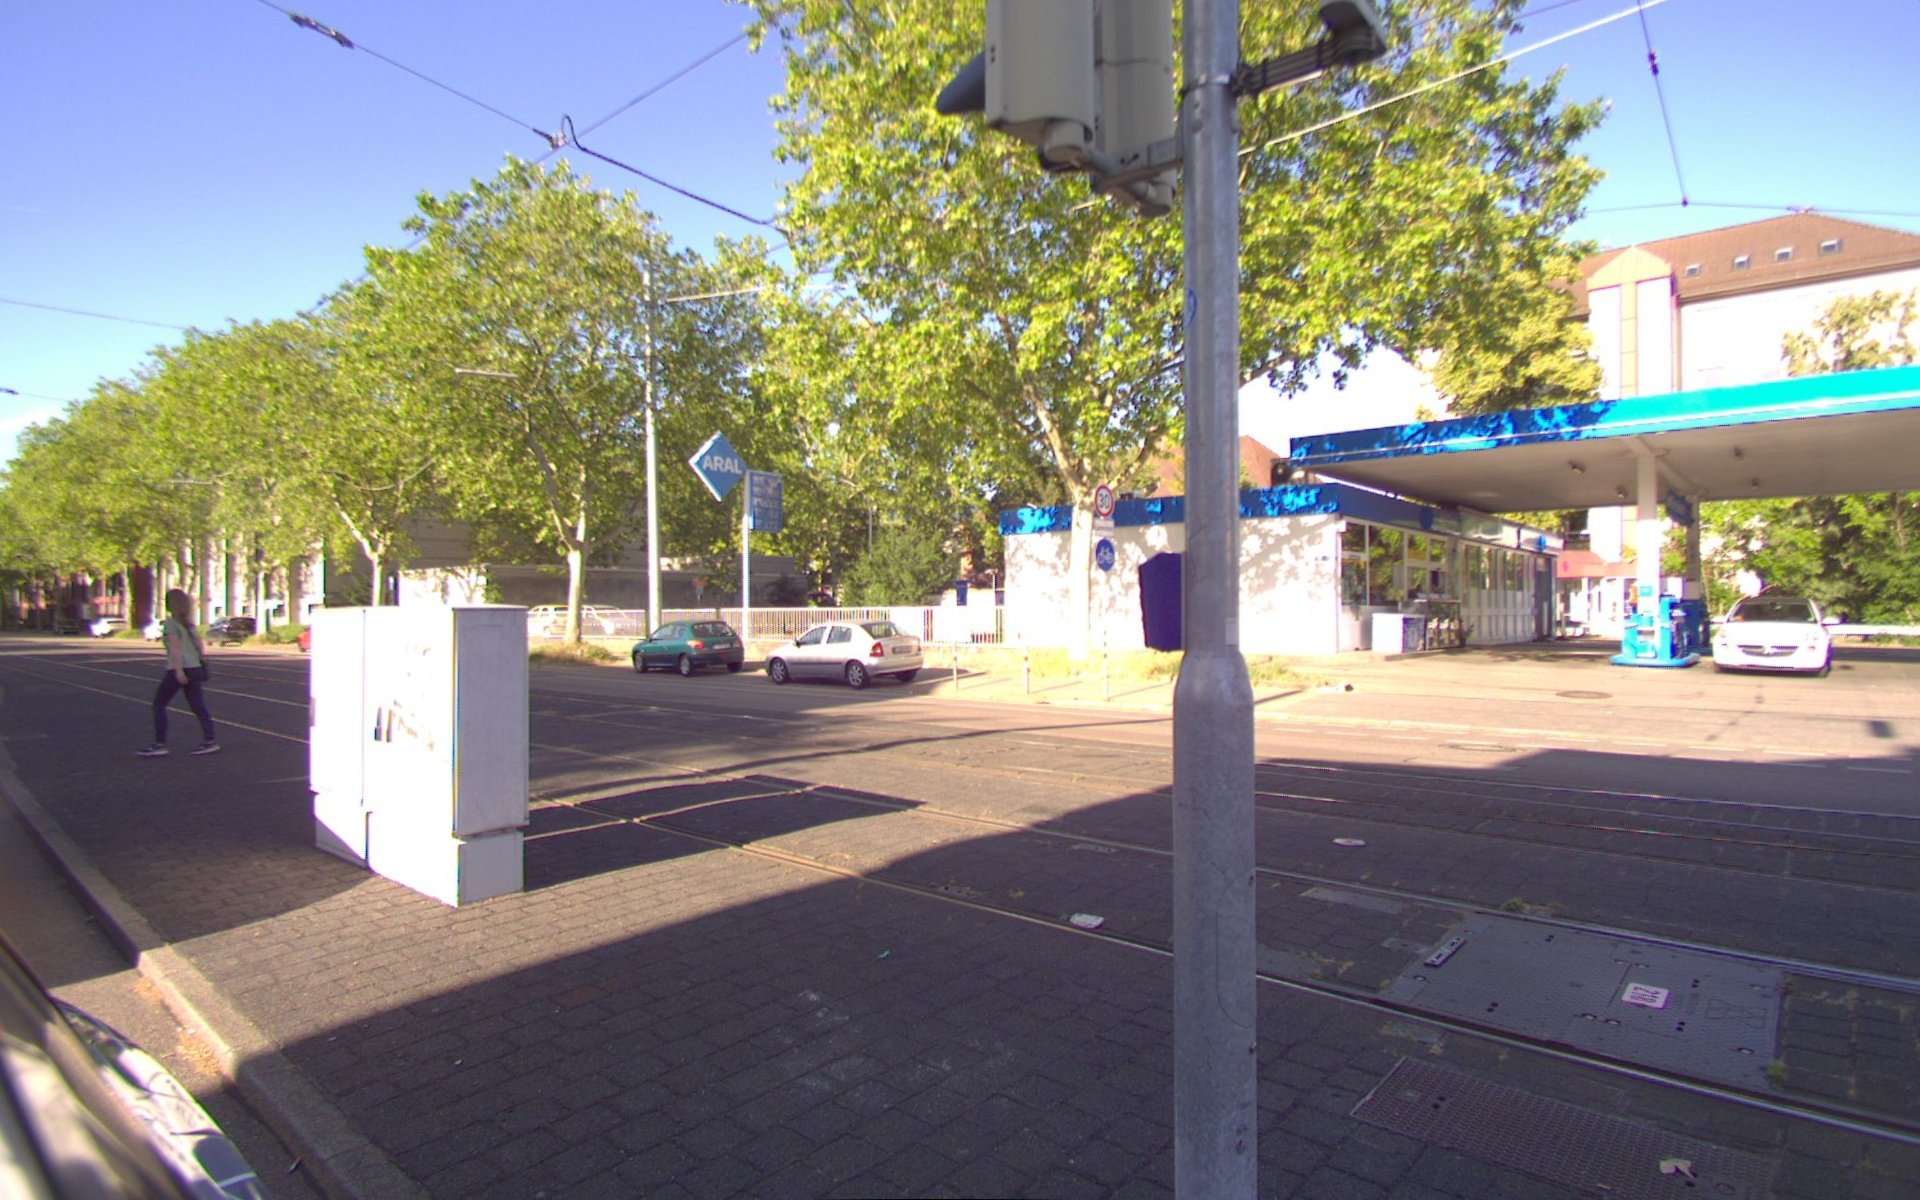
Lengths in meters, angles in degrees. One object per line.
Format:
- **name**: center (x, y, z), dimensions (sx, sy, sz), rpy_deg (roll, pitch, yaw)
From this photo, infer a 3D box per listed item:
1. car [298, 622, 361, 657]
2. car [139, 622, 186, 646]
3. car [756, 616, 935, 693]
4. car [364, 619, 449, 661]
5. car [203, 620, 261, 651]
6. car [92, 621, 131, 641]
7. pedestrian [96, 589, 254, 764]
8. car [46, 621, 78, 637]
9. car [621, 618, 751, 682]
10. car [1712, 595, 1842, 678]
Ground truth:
- **car**: center (-28.553, 1.753, 45.799), dimensions (3.045, 1.519, 1.620), rpy_deg (-1, -1, 41)
- **car**: center (-53.718, 2.269, 68.164), dimensions (3.998, 1.509, 1.779), rpy_deg (-1, -1, 41)
- **car**: center (-2.628, 1.160, 22.661), dimensions (3.965, 1.475, 1.771), rpy_deg (-1, 2, 43)
- **car**: center (-21.939, 1.553, 40.051), dimensions (3.652, 1.541, 1.802), rpy_deg (-1, -1, 41)
- **car**: center (-40.752, 1.956, 56.590), dimensions (3.998, 1.674, 1.779), rpy_deg (-1, -1, 41)
- **car**: center (-66.681, 2.405, 79.530), dimensions (3.998, 1.525, 1.779), rpy_deg (-1, -1, 41)
- **pedestrian**: center (-7.816, 0.735, 10.099), dimensions (1.087, 1.674, 0.693), rpy_deg (-1, 0, 11)
- **car**: center (-85.320, 2.736, 96.118), dimensions (3.998, 1.525, 1.779), rpy_deg (-1, -1, 41)
- **car**: center (-7.326, 1.278, 26.931), dimensions (3.519, 1.475, 1.670), rpy_deg (-1, 2, 43)
- **car**: center (16.029, 0.678, 19.906), dimensions (1.812, 1.453, 3.947), rpy_deg (-1, -1, 39)
